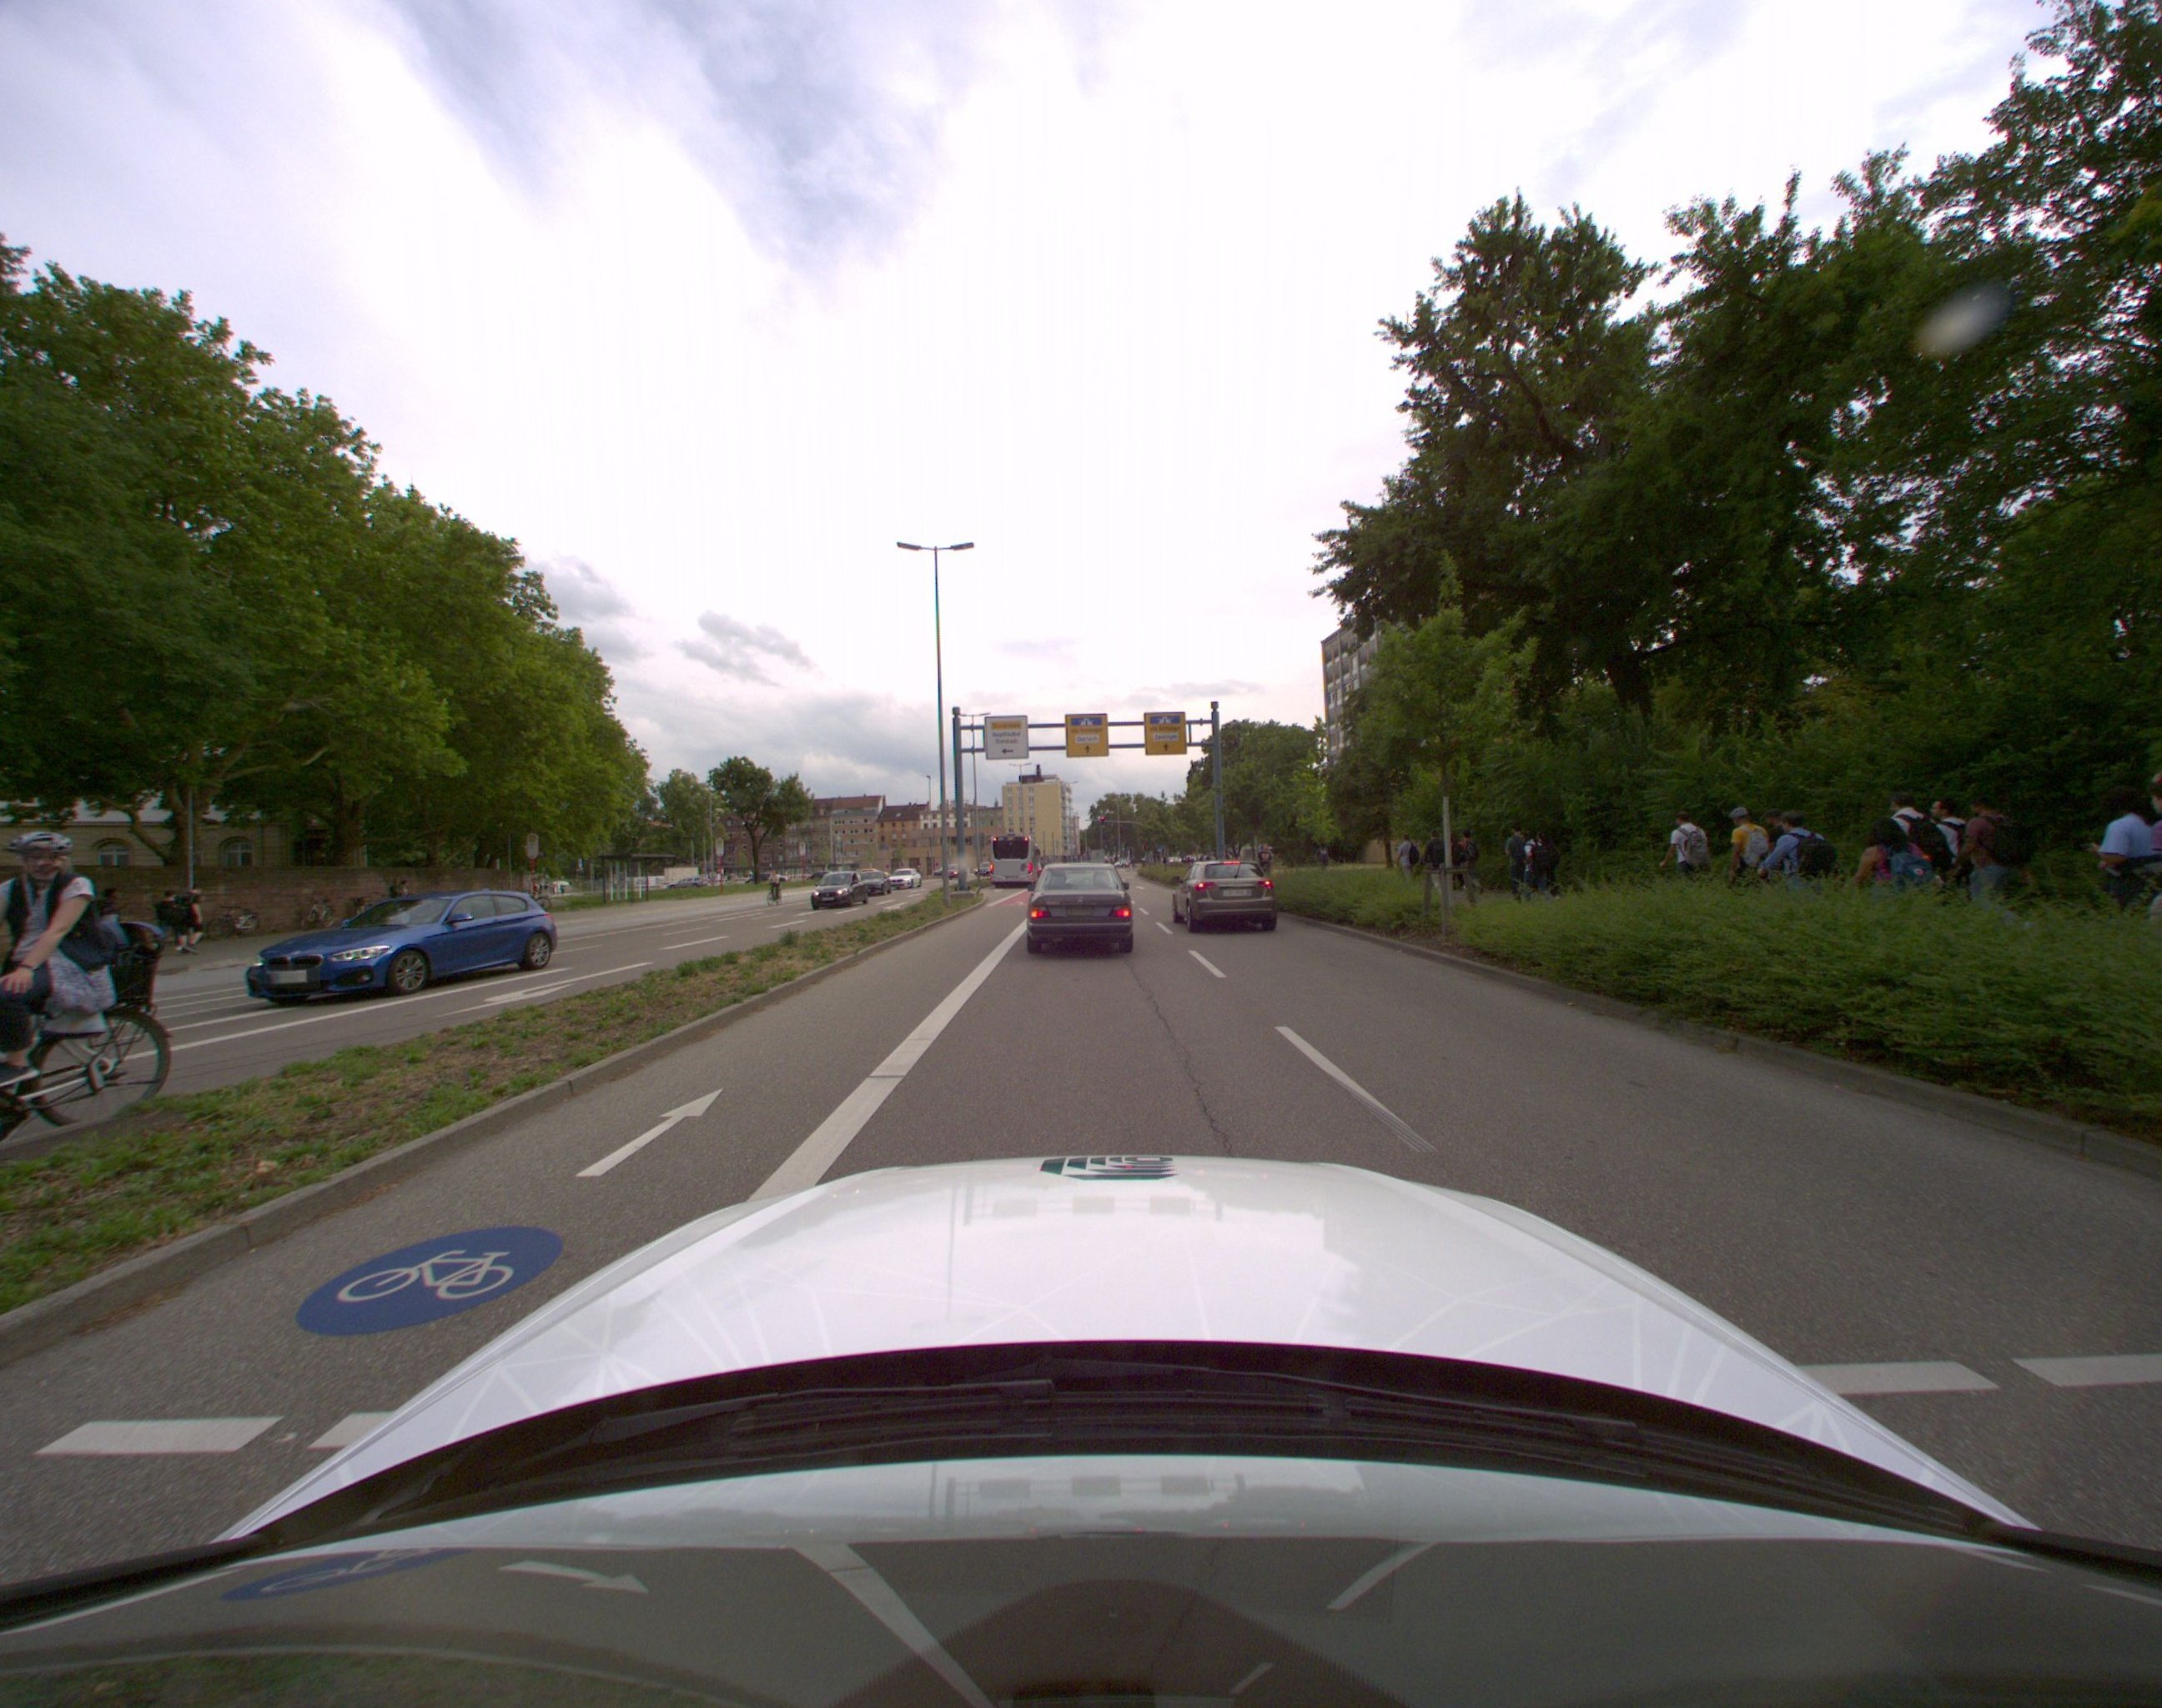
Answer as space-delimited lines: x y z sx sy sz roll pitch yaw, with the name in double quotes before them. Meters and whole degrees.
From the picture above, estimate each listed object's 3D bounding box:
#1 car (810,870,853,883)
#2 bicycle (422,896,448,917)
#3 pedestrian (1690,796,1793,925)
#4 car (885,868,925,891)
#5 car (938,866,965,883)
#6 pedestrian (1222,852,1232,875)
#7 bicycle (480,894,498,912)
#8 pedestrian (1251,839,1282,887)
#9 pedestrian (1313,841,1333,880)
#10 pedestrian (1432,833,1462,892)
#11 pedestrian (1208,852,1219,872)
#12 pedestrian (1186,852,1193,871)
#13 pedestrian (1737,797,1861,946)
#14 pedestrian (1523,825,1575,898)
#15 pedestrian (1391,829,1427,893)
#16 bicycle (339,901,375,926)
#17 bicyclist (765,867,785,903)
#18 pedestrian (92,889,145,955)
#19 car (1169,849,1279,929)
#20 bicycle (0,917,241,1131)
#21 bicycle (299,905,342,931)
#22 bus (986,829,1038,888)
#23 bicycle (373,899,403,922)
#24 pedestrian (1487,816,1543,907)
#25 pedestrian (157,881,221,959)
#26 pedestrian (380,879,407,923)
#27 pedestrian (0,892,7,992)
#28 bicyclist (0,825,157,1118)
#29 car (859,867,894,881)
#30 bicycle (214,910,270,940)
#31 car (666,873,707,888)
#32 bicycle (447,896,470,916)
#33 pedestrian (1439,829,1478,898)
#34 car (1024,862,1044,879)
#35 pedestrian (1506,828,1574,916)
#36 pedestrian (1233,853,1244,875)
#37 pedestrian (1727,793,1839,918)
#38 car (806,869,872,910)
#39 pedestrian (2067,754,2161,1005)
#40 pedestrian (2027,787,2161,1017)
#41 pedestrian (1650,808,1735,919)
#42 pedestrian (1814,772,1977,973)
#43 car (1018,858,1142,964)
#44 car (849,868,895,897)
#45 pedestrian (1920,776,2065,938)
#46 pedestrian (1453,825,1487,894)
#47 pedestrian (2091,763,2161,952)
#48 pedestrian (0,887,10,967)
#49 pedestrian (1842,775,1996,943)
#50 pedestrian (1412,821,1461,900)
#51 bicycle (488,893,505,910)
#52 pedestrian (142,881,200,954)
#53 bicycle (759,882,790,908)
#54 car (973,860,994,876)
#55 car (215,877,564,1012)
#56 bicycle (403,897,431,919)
"car" -29.825 2.670 97.409 4.662 1.475 1.657 -1 -1 -6
"bicycle" -29.588 2.384 37.305 0.442 0.878 1.609 1 -2 -21
"pedestrian" 9.144 0.087 11.305 0.655 1.689 0.841 -3 -1 -2
"car" -12.708 1.809 59.050 1.796 1.489 4.415 -2 0 0
"car" -12.548 1.949 79.006 1.796 1.489 4.288 -2 0 0
"pedestrian" 11.084 0.716 61.963 0.641 1.713 0.564 -3 -1 14
"bicycle" -32.614 2.695 44.883 0.483 0.907 1.607 1 -2 -24
"pedestrian" 7.358 0.355 32.361 0.925 1.830 0.892 -3 -1 27
"pedestrian" 10.570 0.293 35.593 0.585 1.683 0.748 -3 -1 0
"pedestrian" 10.332 0.236 23.012 0.466 1.633 0.653 -3 -1 0
"pedestrian" 11.787 0.737 72.326 0.796 1.713 0.767 -3 -1 12
"pedestrian" 11.624 0.815 87.022 0.612 2.014 0.597 -2 -1 -2
"pedestrian" 8.390 0.194 9.550 0.655 1.648 0.811 -3 -1 -2
"pedestrian" 10.442 0.166 18.193 0.633 1.584 0.785 -3 -1 0
"pedestrian" 9.231 0.196 22.950 0.617 1.735 0.814 -3 -1 0
"bicycle" -27.457 2.252 30.902 0.417 0.878 1.546 0 -2 -17
"bicyclist" -15.631 1.559 41.601 0.615 1.782 0.812 -2 -1 4
"pedestrian" -24.401 1.709 20.656 0.588 1.592 0.730 -1 -2 -23
"car" 2.939 0.672 17.422 1.718 1.457 3.737 -2 0 1
"bicycle" -6.050 0.962 4.564 0.571 1.055 1.928 -2 0 4
"bicycle" -26.732 2.235 28.653 0.442 0.827 1.611 0 -2 -17
"bus" -4.330 0.279 52.847 2.824 3.390 8.176 -2 0 -2
"bicycle" -28.036 2.269 32.952 0.347 0.878 1.513 0 -2 -17
"pedestrian" 9.060 0.159 17.030 0.654 1.821 0.812 -3 -1 0
"pedestrian" -21.445 1.568 19.602 0.763 1.782 0.915 -1 -2 -29
"pedestrian" -26.572 1.819 31.476 0.561 1.668 0.623 -2 -2 -17
"pedestrian" -19.512 1.563 14.147 0.762 1.782 0.716 -1 -2 -24
"bicyclist" -6.086 0.639 4.740 0.569 1.574 0.700 -2 -1 4
"car" -24.676 2.401 98.162 3.851 1.517 1.657 -1 -1 -6
"bicycle" -25.647 2.161 24.922 0.442 0.827 1.611 0 -2 -17
"car" -48.923 3.326 101.050 4.149 1.649 1.643 -3 -1 -7
"bicycle" -30.669 2.545 40.137 0.483 0.907 1.608 -2 -1 -23
"pedestrian" 9.452 0.238 20.394 0.554 1.655 0.753 -3 -1 0
"car" -4.144 1.447 71.786 1.651 1.396 3.856 -2 0 -3
"pedestrian" 8.725 0.334 15.522 0.773 1.602 0.812 -3 -1 0
"pedestrian" 11.020 0.696 56.970 0.652 1.470 0.564 -3 -1 16
"pedestrian" 9.870 0.022 11.487 0.655 1.667 0.970 -3 -1 -2
"car" -10.133 1.449 34.298 1.566 1.489 3.637 -2 0 1
"pedestrian" 7.822 0.169 5.779 0.622 1.745 0.779 -3 -1 -2
"pedestrian" 8.434 0.354 6.575 0.579 1.745 0.789 -3 -1 -2
"pedestrian" 10.072 0.158 13.443 0.719 1.744 0.812 -3 -1 0
"pedestrian" 7.546 0.162 7.583 0.655 1.745 0.779 -3 -1 -2
"car" -0.087 0.847 14.026 1.757 1.489 4.167 -2 0 -2
"car" -12.034 1.623 47.136 1.798 1.489 4.398 -2 0 -5
"pedestrian" 10.130 0.036 9.080 0.655 1.699 0.779 -3 -1 -2
"pedestrian" 10.112 0.144 21.165 0.482 1.763 0.664 -3 -1 0
"pedestrian" 10.289 0.023 7.611 0.655 1.745 0.779 -3 -1 -2
"pedestrian" -22.747 1.521 16.612 0.763 1.671 0.915 -1 -2 -29
"pedestrian" 9.410 0.054 9.188 0.655 1.766 0.957 -3 -1 -2
"pedestrian" 8.519 0.157 19.555 0.690 1.821 0.954 -3 -1 0
"bicycle" -33.603 2.742 46.825 0.483 0.907 1.607 1 -2 -24
"pedestrian" -23.234 1.598 20.805 0.763 1.782 0.776 -1 -2 -29
"bicycle" -15.613 2.058 41.486 0.615 1.217 2.047 -2 0 5
"car" -11.161 1.598 93.600 1.796 1.665 4.299 -4 0 -1
"car" -10.121 1.211 12.441 1.796 1.511 4.102 -3 0 -1
"bicycle" -28.831 2.351 35.378 0.442 0.878 1.609 1 -2 -21
